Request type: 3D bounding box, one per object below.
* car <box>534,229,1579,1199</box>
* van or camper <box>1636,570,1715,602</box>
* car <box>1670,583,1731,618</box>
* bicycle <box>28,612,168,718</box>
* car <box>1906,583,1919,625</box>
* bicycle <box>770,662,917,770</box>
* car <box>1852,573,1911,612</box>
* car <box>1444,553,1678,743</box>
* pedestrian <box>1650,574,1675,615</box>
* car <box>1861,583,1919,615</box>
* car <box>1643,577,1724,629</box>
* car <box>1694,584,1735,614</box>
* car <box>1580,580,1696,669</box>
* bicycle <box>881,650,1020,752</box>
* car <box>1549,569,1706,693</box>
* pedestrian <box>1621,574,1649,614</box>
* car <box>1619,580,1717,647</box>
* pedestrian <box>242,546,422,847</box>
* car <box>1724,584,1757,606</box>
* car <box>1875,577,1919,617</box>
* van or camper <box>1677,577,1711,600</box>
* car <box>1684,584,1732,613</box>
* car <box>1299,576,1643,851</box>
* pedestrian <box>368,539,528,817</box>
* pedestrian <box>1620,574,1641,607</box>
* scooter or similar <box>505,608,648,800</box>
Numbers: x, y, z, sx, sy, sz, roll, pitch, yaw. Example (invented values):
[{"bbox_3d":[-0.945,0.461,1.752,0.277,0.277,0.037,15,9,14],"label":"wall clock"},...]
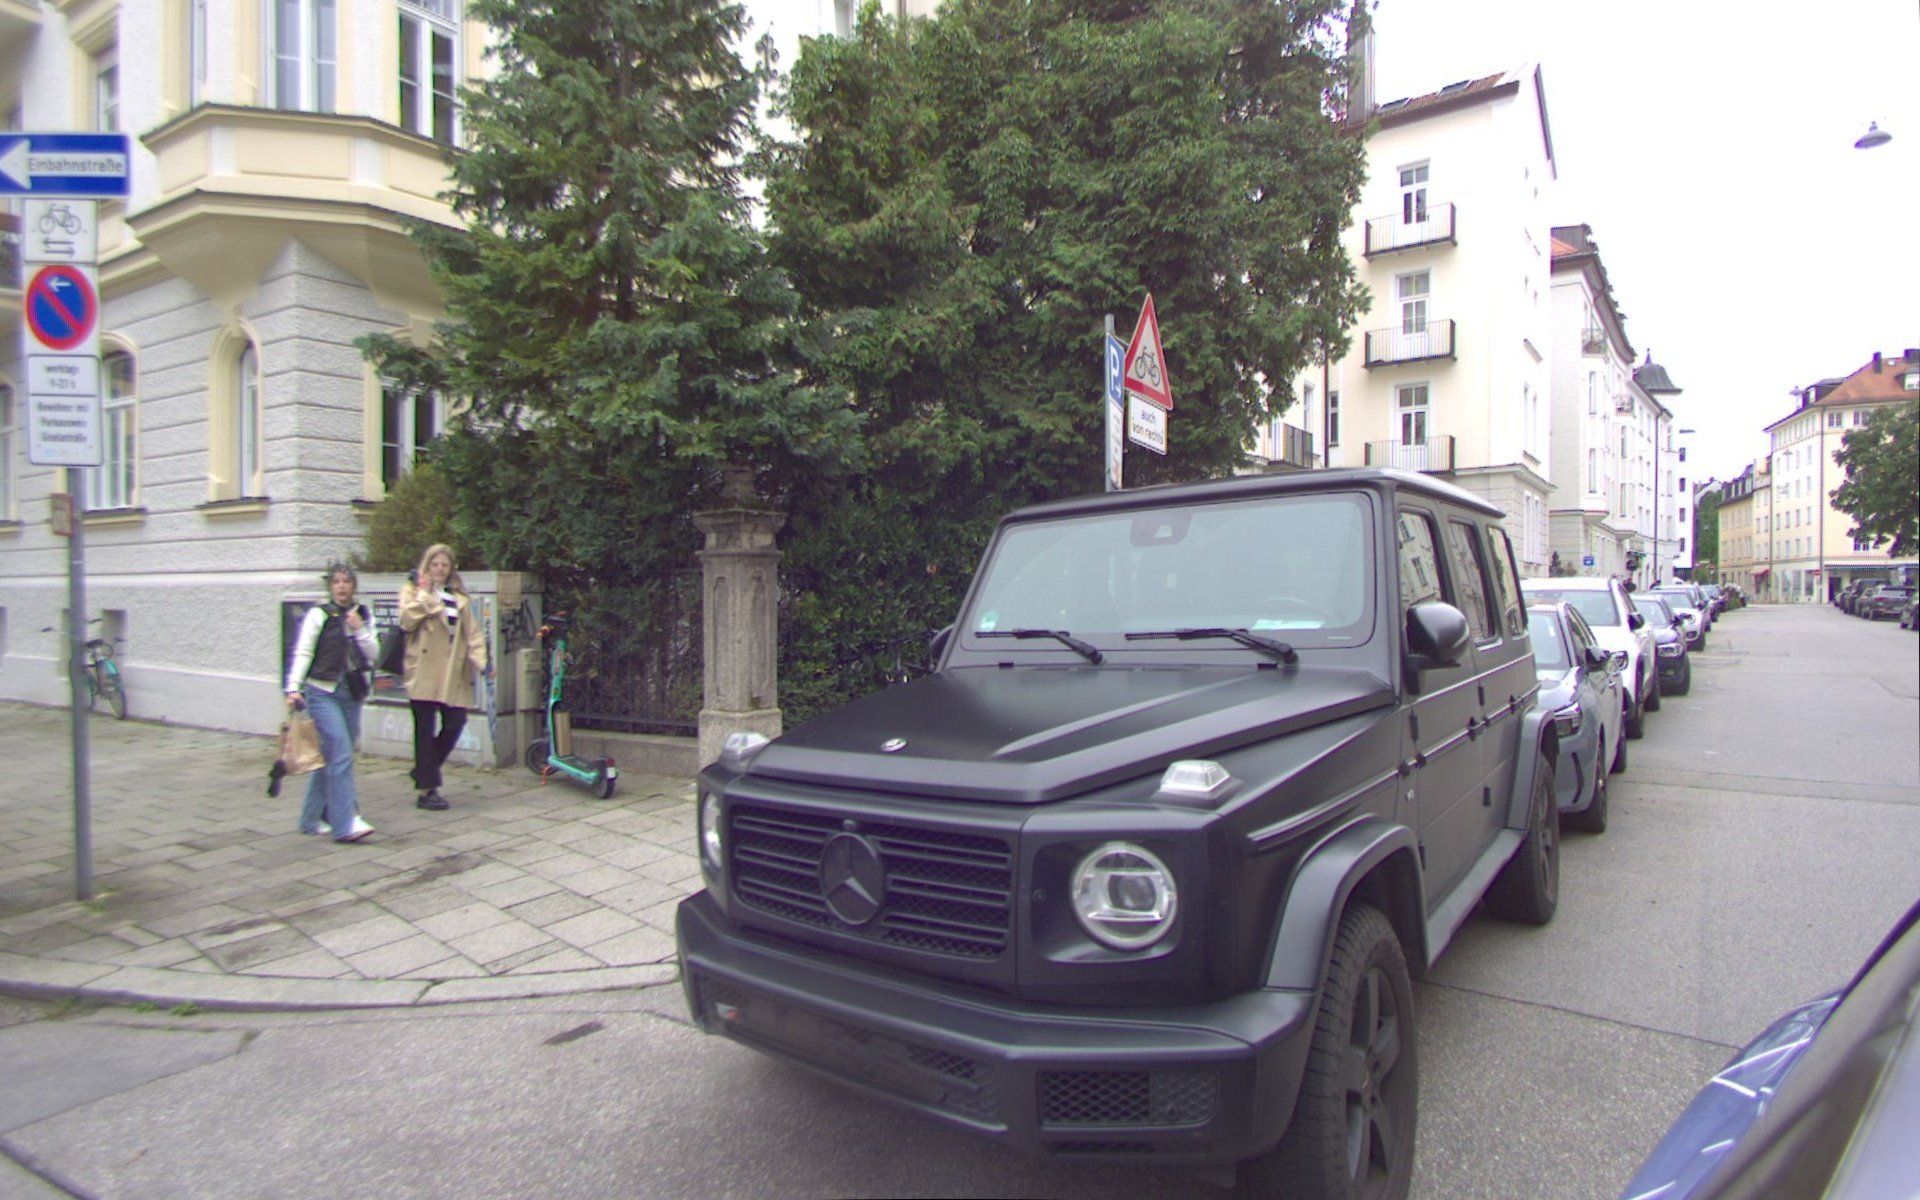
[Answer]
[{"bbox_3d":[1.002,0.446,3.966,1.946,1.979,4.602,-1,-1,37],"label":"car"},{"bbox_3d":[66.337,-1.290,93.963,5.826,2.749,2.277,1,-2,32],"label":"van or camper"},{"bbox_3d":[33.039,0.017,45.107,1.990,1.476,4.646,0,0,39],"label":"car"},{"bbox_3d":[-10.102,0.719,11.833,2.394,1.119,0.532,0,0,32],"label":"bicycle"},{"bbox_3d":[34.631,0.153,35.394,1.789,1.432,4.220,4,3,38],"label":"car"},{"bbox_3d":[-0.889,0.872,7.903,0.512,0.691,1.107,0,1,39],"label":"bicycle"},{"bbox_3d":[48.366,-0.387,53.187,1.833,1.918,4.698,3,2,38],"label":"car"},{"bbox_3d":[7.140,0.436,11.798,1.719,1.791,4.352,-3,-1,38],"label":"car"},{"bbox_3d":[31.648,-0.258,45.570,0.881,1.809,1.096,0,0,37],"label":"pedestrian"},{"bbox_3d":[45.089,-0.061,49.074,1.834,1.411,4.184,3,2,39],"label":"car"},{"bbox_3d":[24.356,0.093,34.011,1.819,1.589,4.336,-3,-2,40],"label":"car"},{"bbox_3d":[44.636,-0.062,59.848,1.795,1.696,4.132,-3,-2,37],"label":"car"},{"bbox_3d":[13.043,0.399,19.433,1.678,1.523,3.967,-1,0,35],"label":"car"},{"bbox_3d":[-0.059,0.853,8.927,0.512,0.744,1.335,0,1,39],"label":"bicycle"},{"bbox_3d":[10.313,0.422,15.634,1.744,1.631,4.368,-2,-1,34],"label":"car"},{"bbox_3d":[30.844,-0.274,46.250,0.883,1.834,1.094,0,0,43],"label":"pedestrian"},{"bbox_3d":[17.541,0.282,25.016,1.780,1.523,4.009,-1,0,38],"label":"car"},{"bbox_3d":[-3.745,0.516,6.044,0.703,1.648,0.681,2,2,32],"label":"pedestrian"},{"bbox_3d":[60.447,-0.392,78.355,1.833,1.639,4.035,-3,-2,40],"label":"car"},{"bbox_3d":[41.410,-0.138,44.168,1.722,1.638,4.068,3,2,36],"label":"car"},{"bbox_3d":[83.512,-1.325,115.150,1.946,2.540,5.677,0,0,24],"label":"van or camper"},{"bbox_3d":[39.138,-0.090,53.061,1.830,1.417,4.911,-2,-1,35],"label":"car"},{"bbox_3d":[4.014,0.627,7.635,1.718,1.538,3.584,-3,-1,36],"label":"car"},{"bbox_3d":[-3.438,0.471,6.807,0.732,1.723,0.687,3,3,35],"label":"pedestrian"},{"bbox_3d":[38.136,-0.539,57.537,0.882,1.836,1.095,0,0,39],"label":"pedestrian"},{"bbox_3d":[-2.745,0.684,7.190,1.346,1.204,0.366,2,2,41],"label":"scooter or similar"}]
